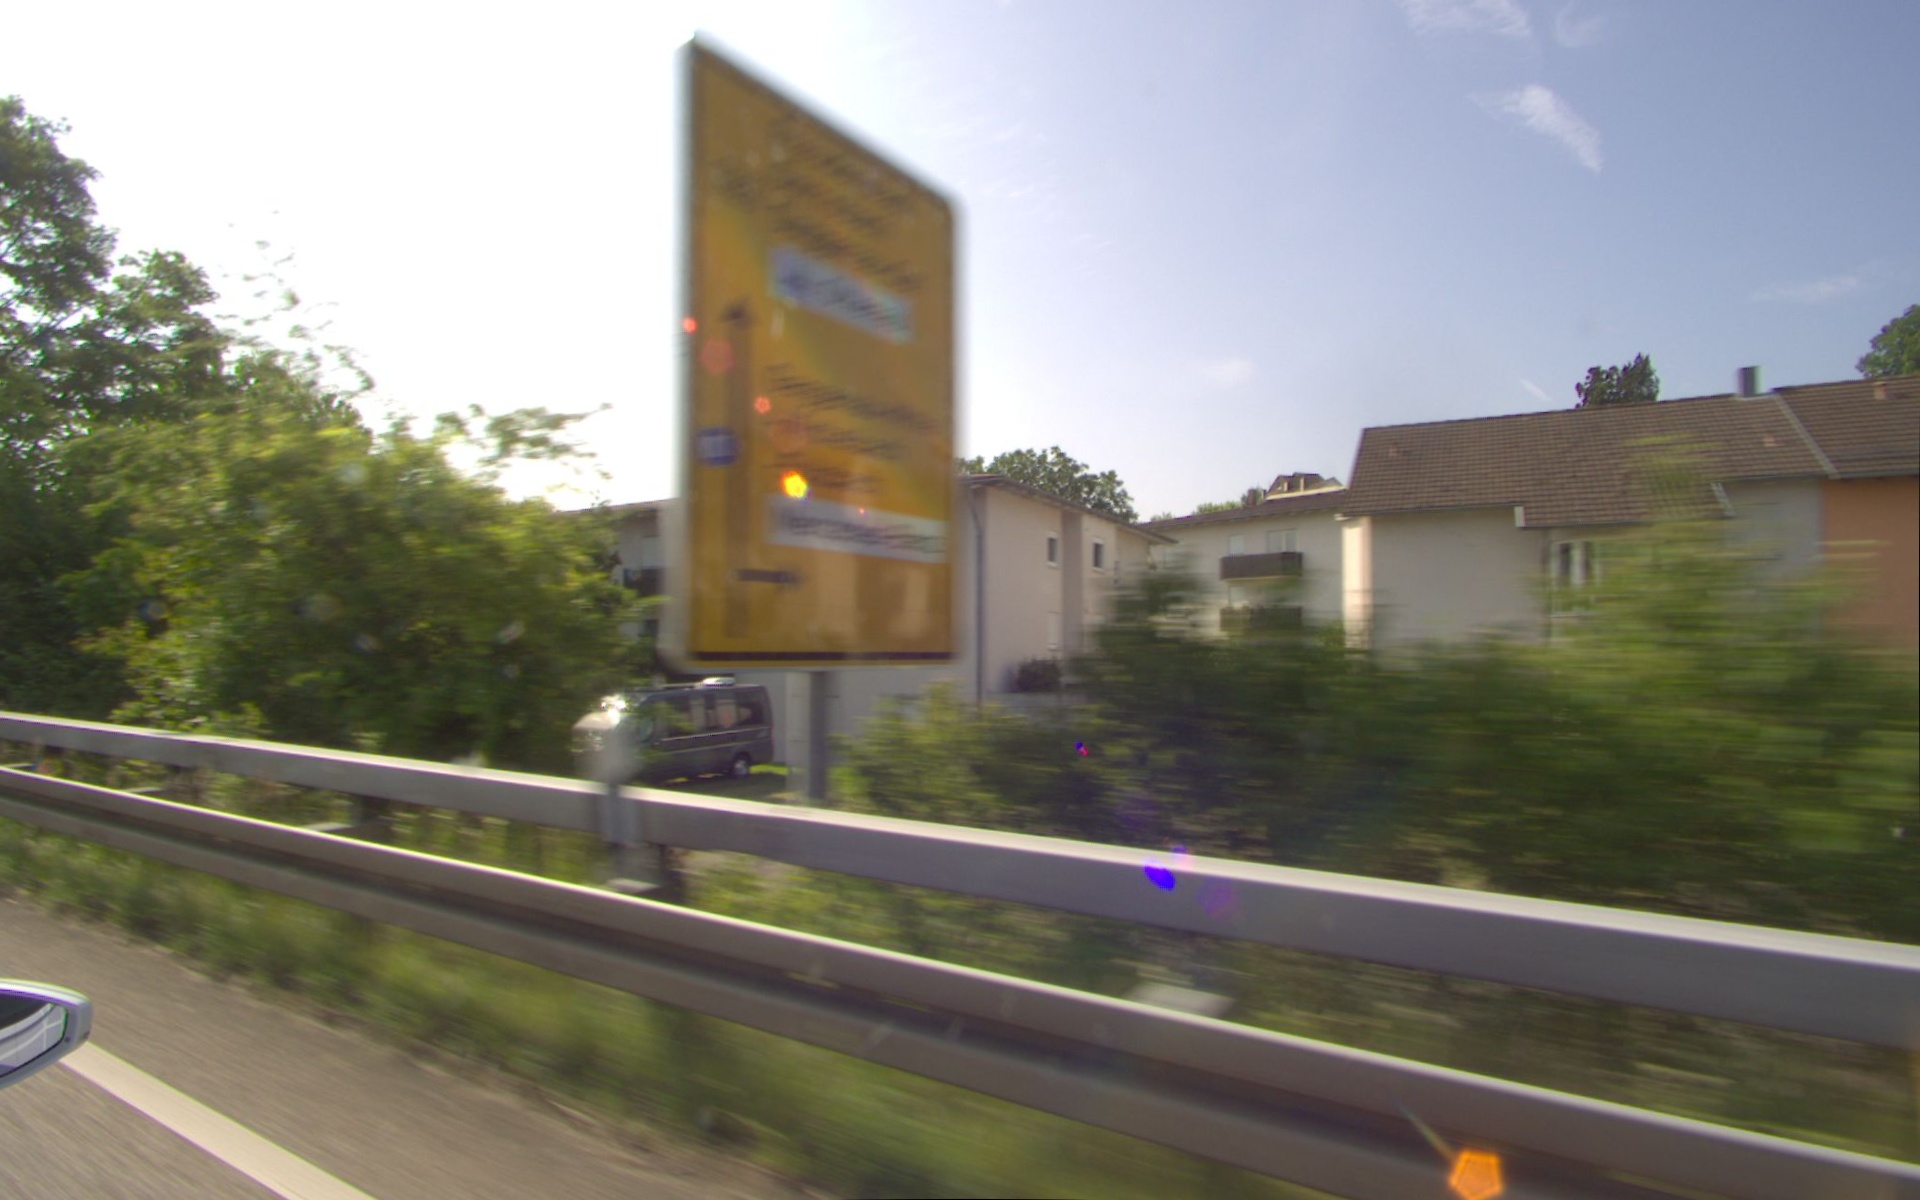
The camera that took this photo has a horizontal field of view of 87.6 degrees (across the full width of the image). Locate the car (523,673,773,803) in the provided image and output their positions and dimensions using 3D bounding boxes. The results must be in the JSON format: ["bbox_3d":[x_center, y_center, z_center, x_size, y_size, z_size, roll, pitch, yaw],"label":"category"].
[{"bbox_3d":[-7.737,3.359,25.592,2.281,2.720,6.065,-4,-4,31],"label":"car"}]
